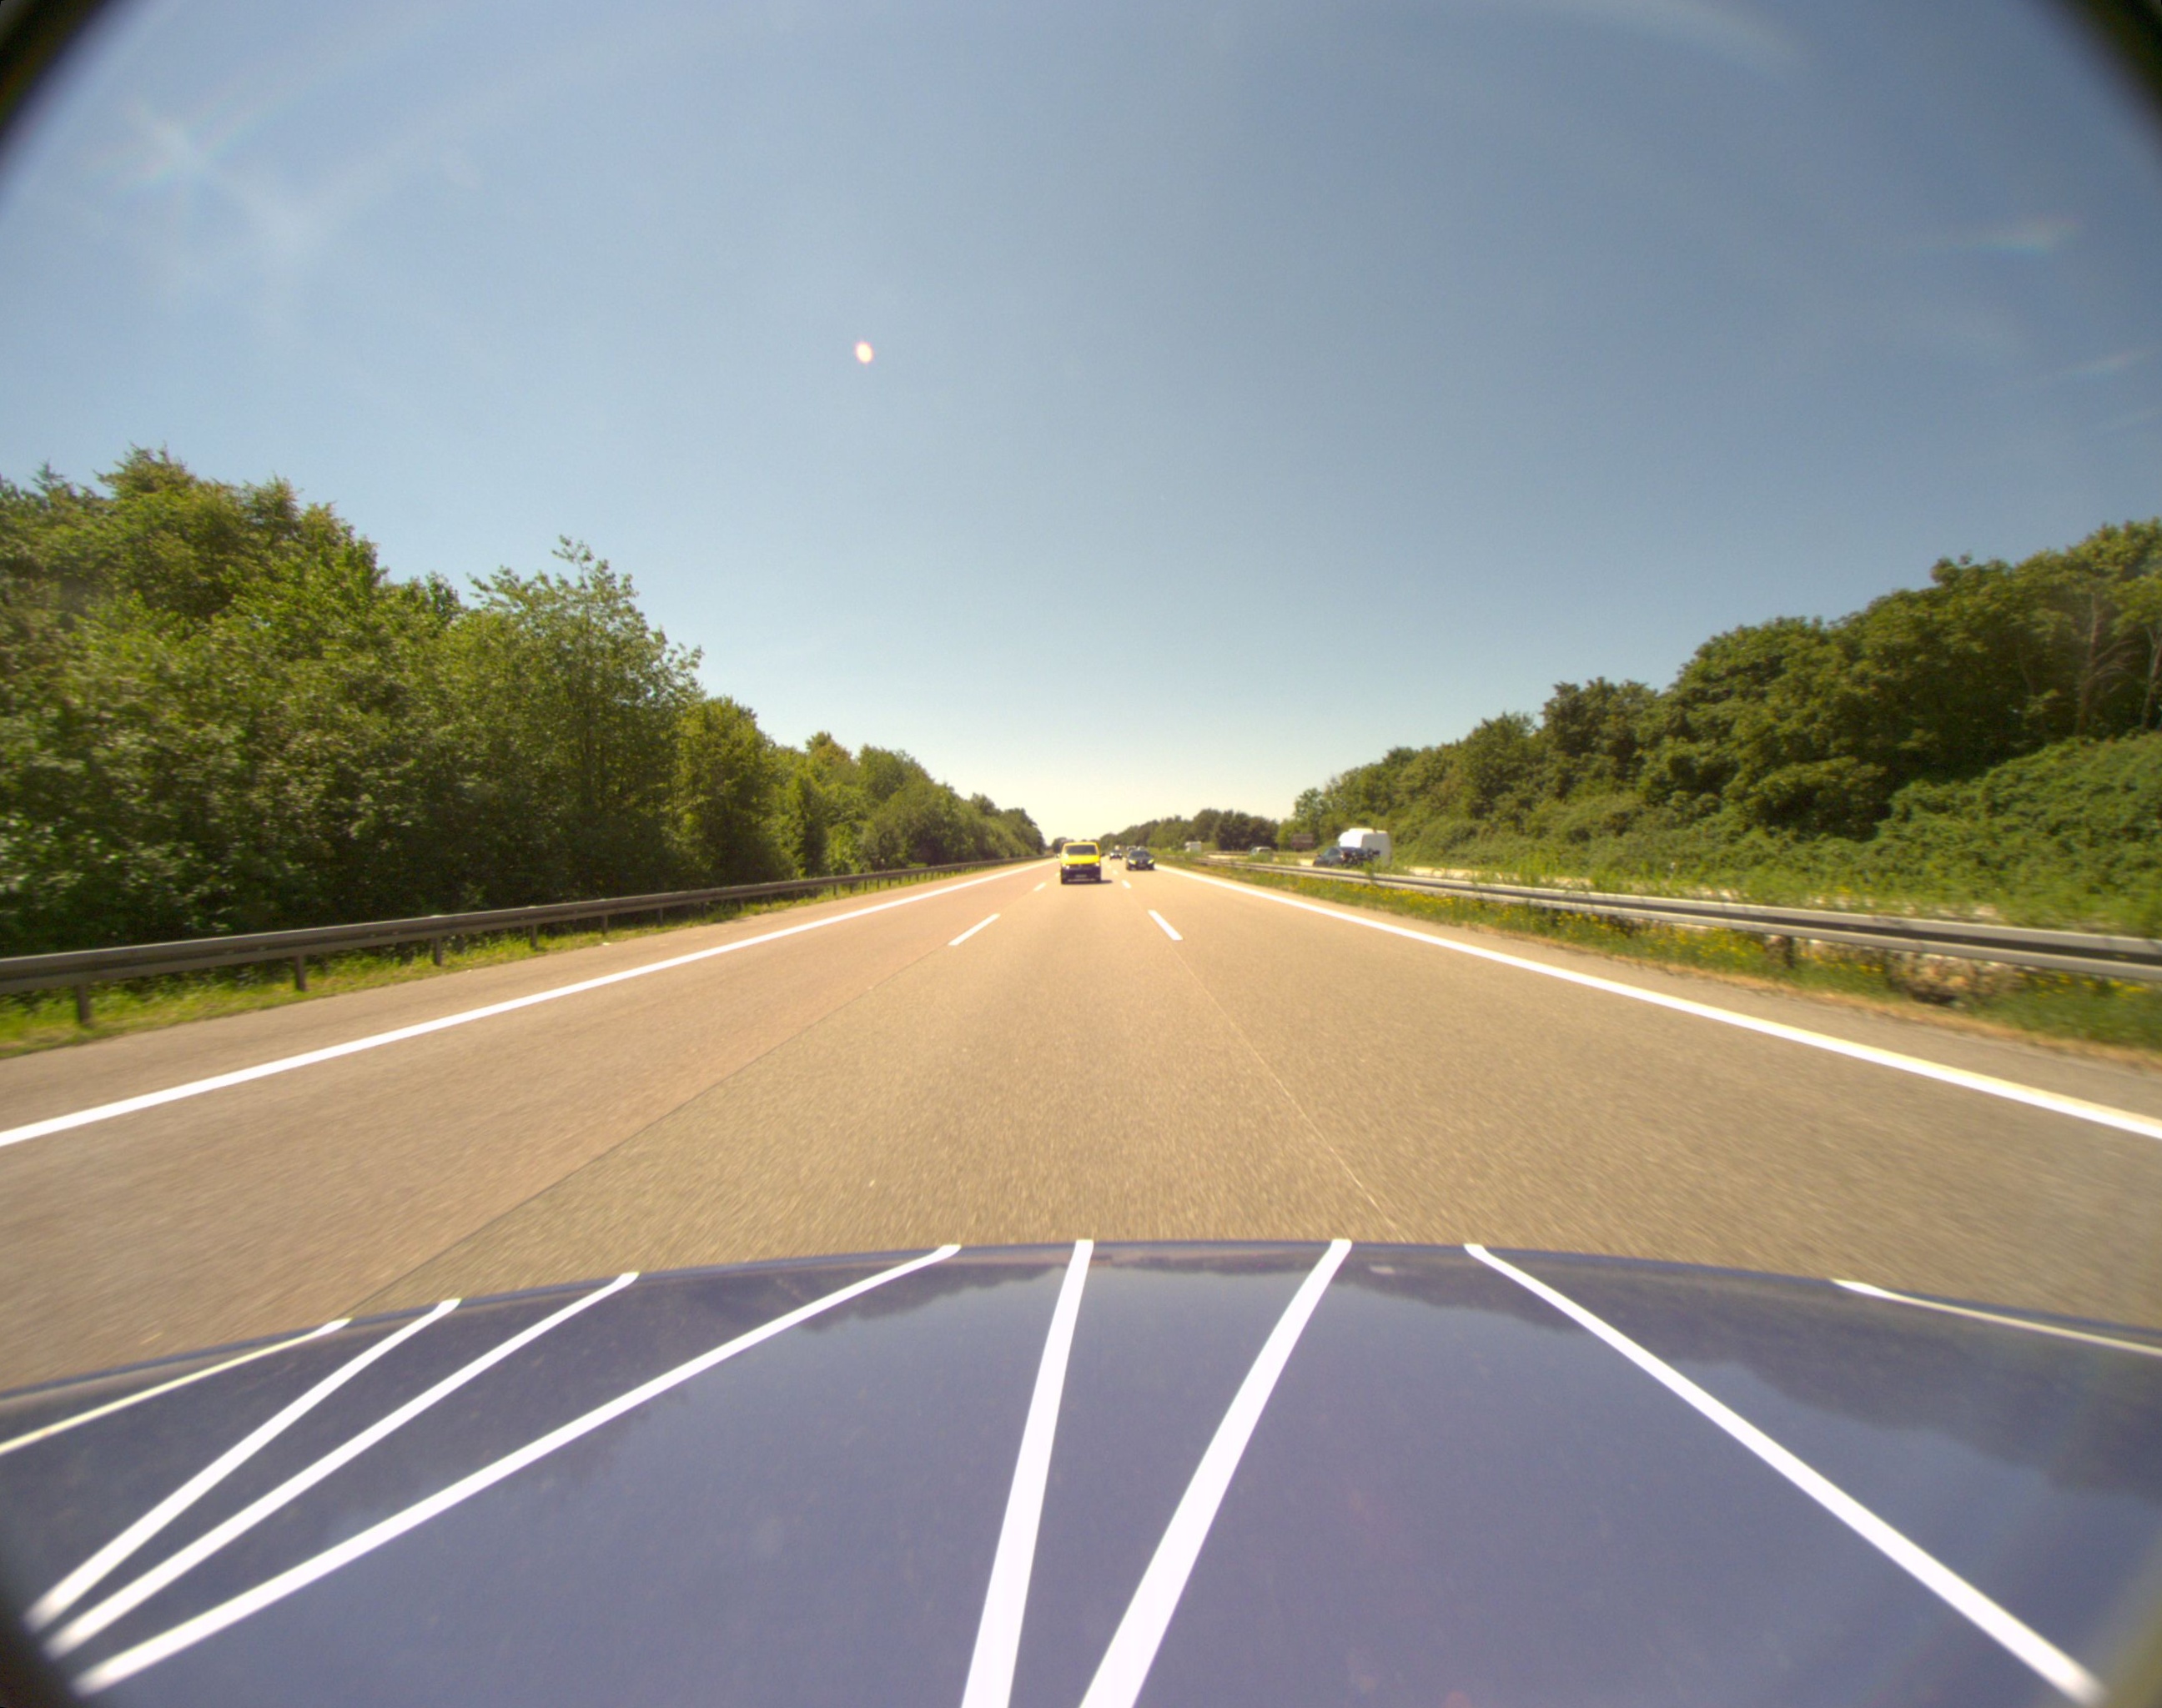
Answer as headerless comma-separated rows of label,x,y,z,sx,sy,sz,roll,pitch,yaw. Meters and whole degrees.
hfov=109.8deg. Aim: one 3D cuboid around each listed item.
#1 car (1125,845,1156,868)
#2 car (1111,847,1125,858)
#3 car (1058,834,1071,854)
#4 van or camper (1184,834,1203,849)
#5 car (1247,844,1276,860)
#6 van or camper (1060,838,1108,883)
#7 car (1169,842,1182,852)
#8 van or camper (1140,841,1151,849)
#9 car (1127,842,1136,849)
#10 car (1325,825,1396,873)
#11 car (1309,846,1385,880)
car,4.231,0.160,54.338,1.894,1.541,4.039,1,1,1
car,5.535,-0.197,113.160,1.894,1.541,4.039,1,1,1
car,-3.291,-2.001,156.103,2.298,3.886,9.268,1,1,1
van or camper,22.377,-2.438,151.285,2.612,2.985,7.755,-1,1,1
car,17.750,-0.200,74.903,1.746,1.499,4.415,-2,1,1
van or camper,0.240,0.261,36.965,2.063,1.992,5.884,-1,1,2
car,20.856,-1.559,168.066,2.288,2.174,5.945,-1,1,1
van or camper,19.455,-2.724,228.948,2.612,2.174,6.745,-1,1,1
car,14.355,-2.405,215.237,2.237,2.174,6.385,-1,1,1
car,17.311,-0.338,47.515,2.041,2.731,6.657,1,1,1
car,12.849,0.377,37.062,1.998,1.558,5.043,0,1,1
